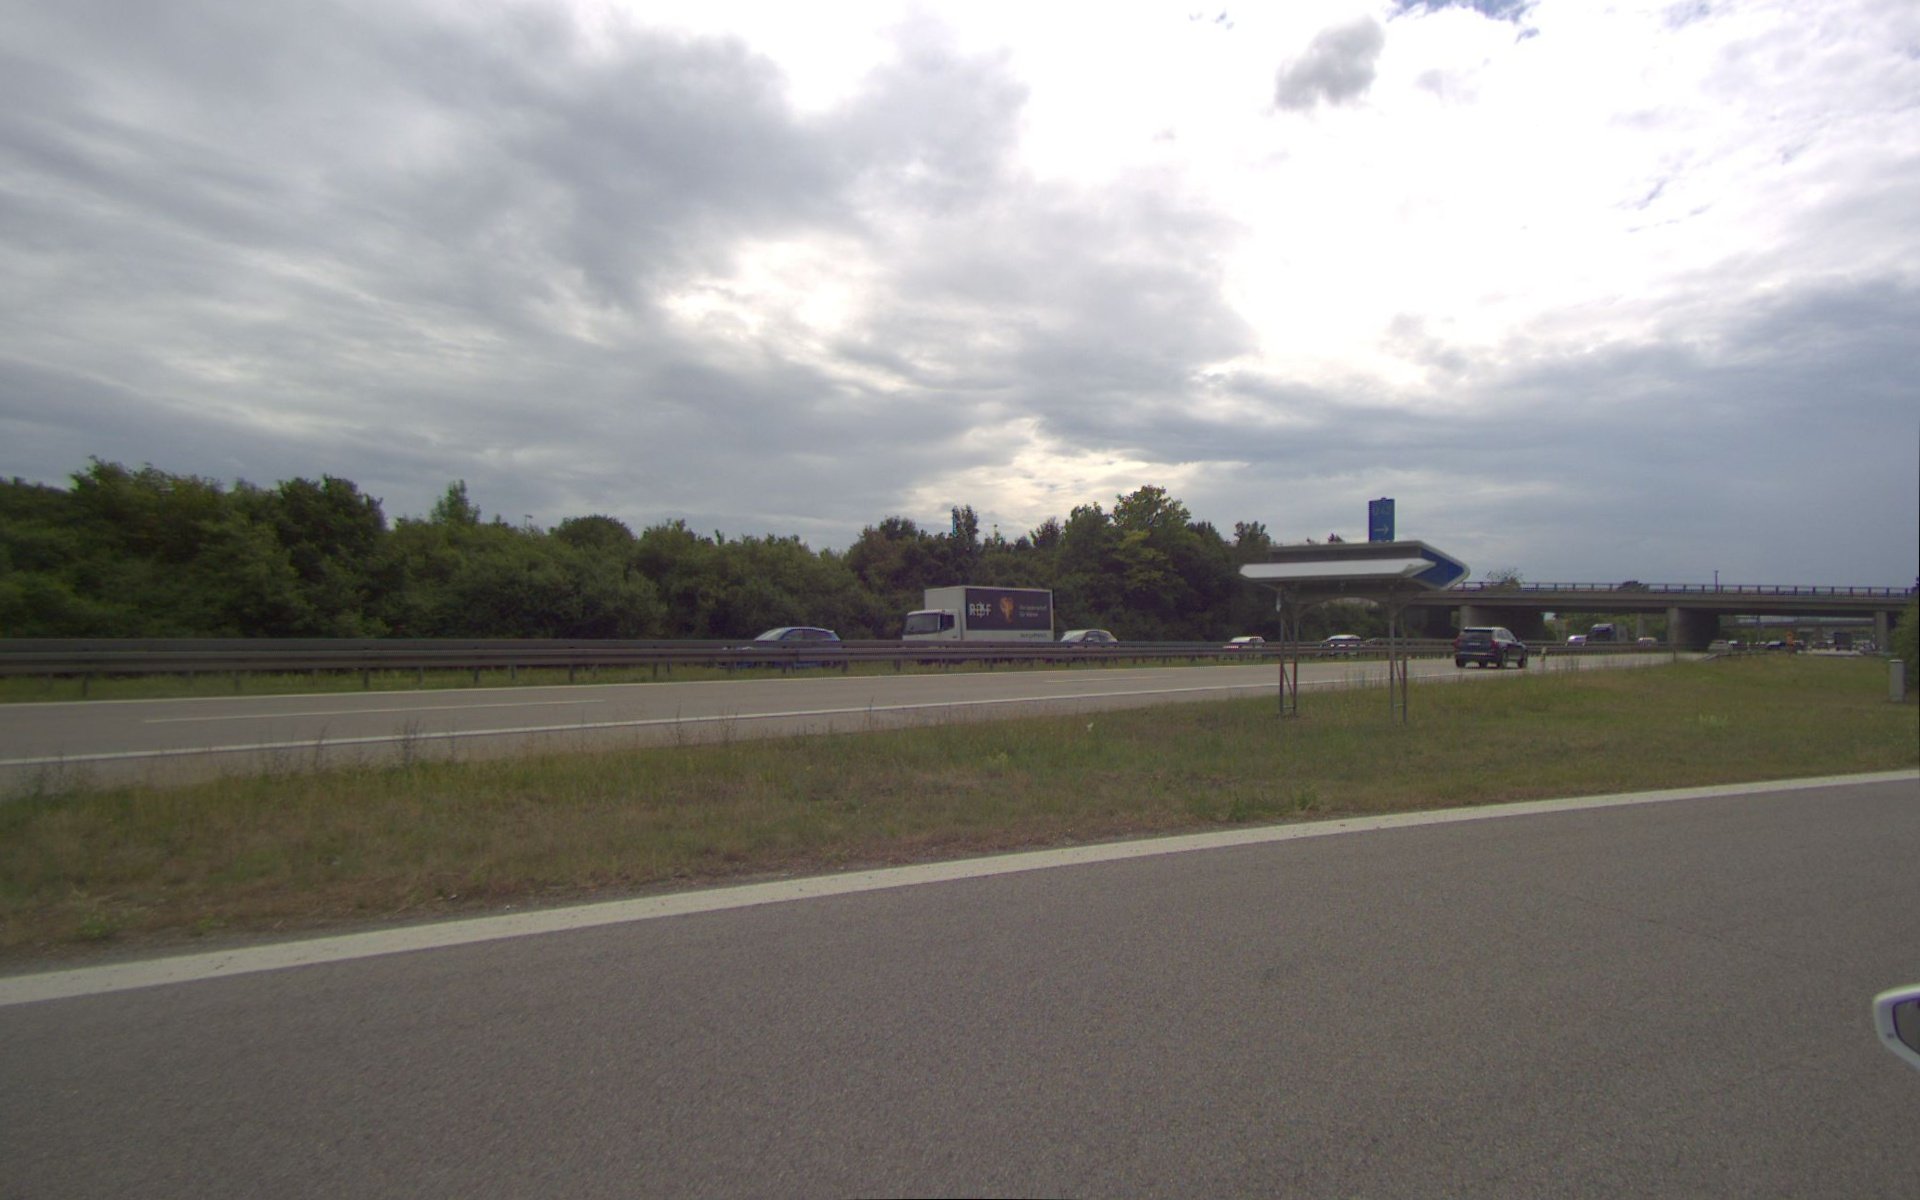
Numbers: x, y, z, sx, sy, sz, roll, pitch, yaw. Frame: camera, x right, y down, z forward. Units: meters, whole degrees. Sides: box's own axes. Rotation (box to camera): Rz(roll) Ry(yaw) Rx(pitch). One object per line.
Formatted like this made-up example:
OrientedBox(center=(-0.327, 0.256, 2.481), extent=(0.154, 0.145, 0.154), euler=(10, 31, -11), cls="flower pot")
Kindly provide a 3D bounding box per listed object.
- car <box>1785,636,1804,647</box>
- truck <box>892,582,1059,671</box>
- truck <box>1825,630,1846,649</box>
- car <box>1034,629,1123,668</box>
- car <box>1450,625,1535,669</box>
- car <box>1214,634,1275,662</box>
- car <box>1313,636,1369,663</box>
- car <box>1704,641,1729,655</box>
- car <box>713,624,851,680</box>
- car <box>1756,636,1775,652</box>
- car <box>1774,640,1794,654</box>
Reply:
OrientedBox(center=(138.149, 6.881, 166.236), extent=(1.973, 1.766, 4.800), euler=(-1, -3, 44), cls="car")
OrientedBox(center=(0.866, 1.234, 45.740), extent=(2.730, 3.694, 8.147), euler=(0, -2, 44), cls="truck")
OrientedBox(center=(162.052, 7.343, 185.883), extent=(2.442, 3.415, 7.876), euler=(-1, -3, 44), cls="truck")
OrientedBox(center=(5.213, 2.082, 43.860), extent=(1.853, 1.595, 3.977), euler=(0, -2, 43), cls="car")
OrientedBox(center=(23.582, 2.061, 44.420), extent=(4.893, 1.785, 1.973), euler=(2, -2, -45), cls="car")
OrientedBox(center=(17.618, 2.951, 62.180), extent=(1.973, 1.650, 3.976), euler=(0, -2, 44), cls="car")
OrientedBox(center=(23.551, 3.046, 62.039), extent=(1.853, 1.595, 3.977), euler=(0, -2, 43), cls="car")
OrientedBox(center=(84.152, 5.352, 111.729), extent=(1.816, 1.472, 4.354), euler=(0, -2, 43), cls="car")
OrientedBox(center=(-5.673, 1.647, 32.285), extent=(1.973, 1.650, 3.976), euler=(0, -2, 44), cls="car")
OrientedBox(center=(115.590, 6.312, 144.105), extent=(1.970, 2.040, 3.981), euler=(2, -1, 41), cls="car")
OrientedBox(center=(100.077, 5.693, 121.990), extent=(1.698, 1.539, 3.978), euler=(-1, -2, 43), cls="car")
